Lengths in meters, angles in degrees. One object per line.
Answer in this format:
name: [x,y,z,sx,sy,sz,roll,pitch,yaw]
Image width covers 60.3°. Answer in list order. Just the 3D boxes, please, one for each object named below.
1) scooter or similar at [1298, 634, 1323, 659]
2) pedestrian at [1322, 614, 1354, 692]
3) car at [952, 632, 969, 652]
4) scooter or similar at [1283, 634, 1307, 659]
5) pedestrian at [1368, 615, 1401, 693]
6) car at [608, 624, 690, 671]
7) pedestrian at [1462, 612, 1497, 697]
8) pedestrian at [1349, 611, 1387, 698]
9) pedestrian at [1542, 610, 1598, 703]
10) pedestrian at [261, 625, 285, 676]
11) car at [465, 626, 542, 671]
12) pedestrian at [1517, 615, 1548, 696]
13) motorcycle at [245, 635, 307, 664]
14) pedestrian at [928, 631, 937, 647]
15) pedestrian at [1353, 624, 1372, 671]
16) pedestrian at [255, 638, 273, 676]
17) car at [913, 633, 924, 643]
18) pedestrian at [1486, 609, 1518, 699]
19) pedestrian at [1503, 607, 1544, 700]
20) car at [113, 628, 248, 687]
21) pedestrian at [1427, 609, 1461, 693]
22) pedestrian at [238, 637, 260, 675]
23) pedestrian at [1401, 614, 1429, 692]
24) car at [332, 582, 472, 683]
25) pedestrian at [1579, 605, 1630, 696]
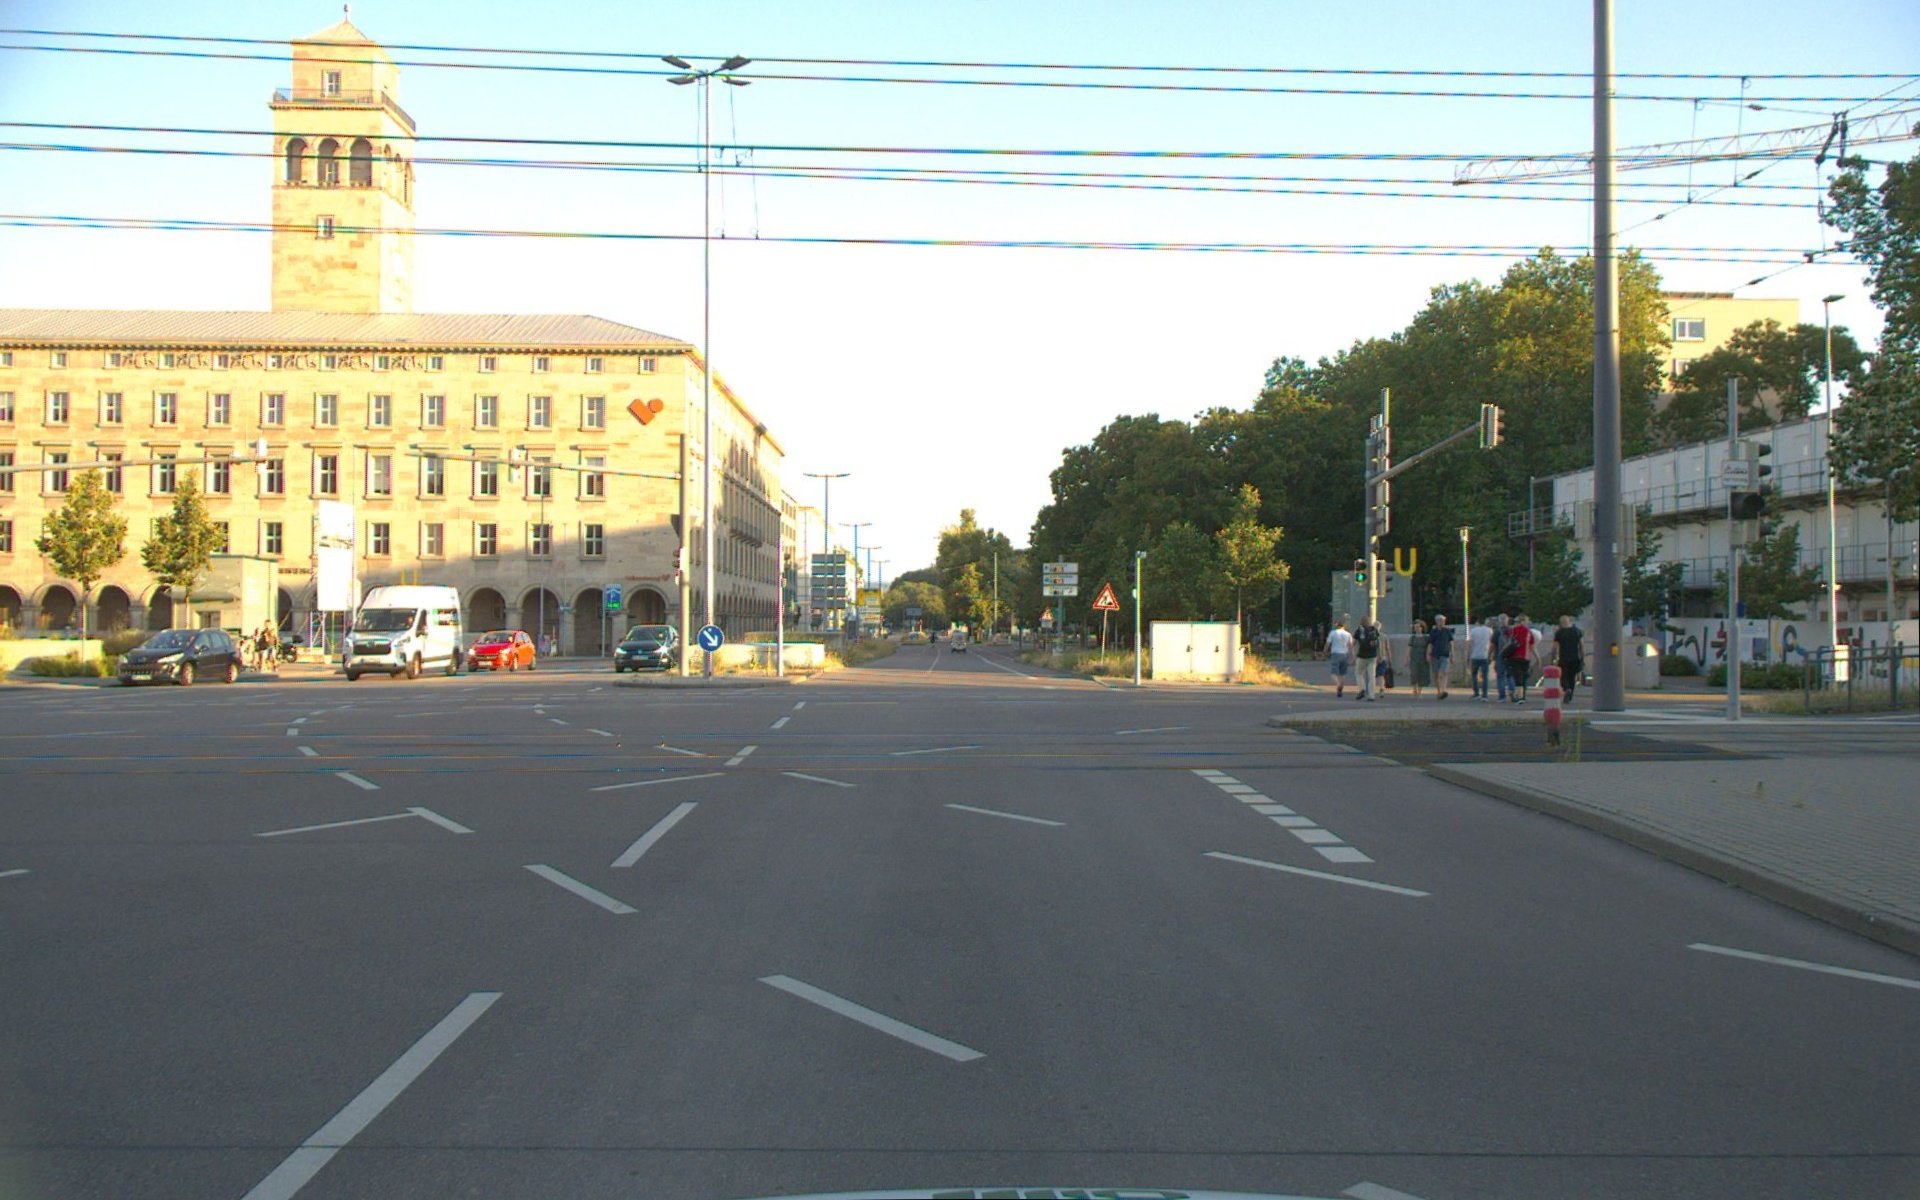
scooter or similar: [18.442,2.439,87.018,0.558,1.224,2.982,0,-1,-2]
pedestrian: [8.583,1.190,37.584,0.696,1.755,0.669,0,-1,14]
car: [0.058,3.771,148.730,1.453,1.725,2.973,0,-1,-1]
scooter or similar: [17.564,2.440,86.848,0.558,1.224,2.982,0,-1,-2]
pedestrian: [9.618,1.214,37.474,0.696,1.755,0.669,0,-1,16]
car: [-9.741,1.463,52.086,1.785,1.365,4.000,0,0,1]
pedestrian: [10.888,1.123,34.702,0.696,1.755,0.915,0,-1,17]
pedestrian: [8.353,1.094,33.889,0.695,1.755,0.916,0,-1,9]
pedestrian: [12.187,1.119,33.081,0.789,1.823,0.800,0,-1,-5]
pedestrian: [-24.446,1.790,58.878,0.609,1.774,0.459,2,-2,-7]
car: [-16.623,1.739,60.366,1.703,1.513,4.000,0,0,0]
pedestrian: [12.113,1.166,35.007,0.560,1.708,0.639,0,-1,13]
motorcycle: [-29.066,2.089,70.296,2.266,1.217,0.825,0,0,-8]
pedestrian: [-2.887,4.118,174.063,0.888,1.700,1.306,0,0,-2]
pedestrian: [16.386,1.929,67.363,0.652,1.875,0.713,0,0,4]
pedestrian: [-24.428,2.002,58.046,0.412,1.323,0.459,2,-2,-6]
car: [-5.391,4.899,214.600,1.341,1.256,3.045,0,0,0]
pedestrian: [11.016,1.087,33.609,0.560,1.823,0.639,0,-1,13]
pedestrian: [10.965,1.028,32.208,0.688,1.765,0.848,0,-1,15]
car: [-21.341,1.550,45.445,1.786,1.492,4.157,0,0,-1]
pedestrian: [10.561,1.099,36.048,0.665,1.788,0.902,0,0,19]
pedestrian: [-25.122,1.975,58.459,0.496,1.323,0.700,2,-2,-6]
pedestrian: [10.028,1.161,36.432,0.548,1.684,0.902,0,0,19]
car: [-16.594,0.942,49.561,2.233,2.825,6.082,0,-1,-1]
pedestrian: [13.200,1.023,33.894,0.788,1.823,0.801,0,-1,6]
